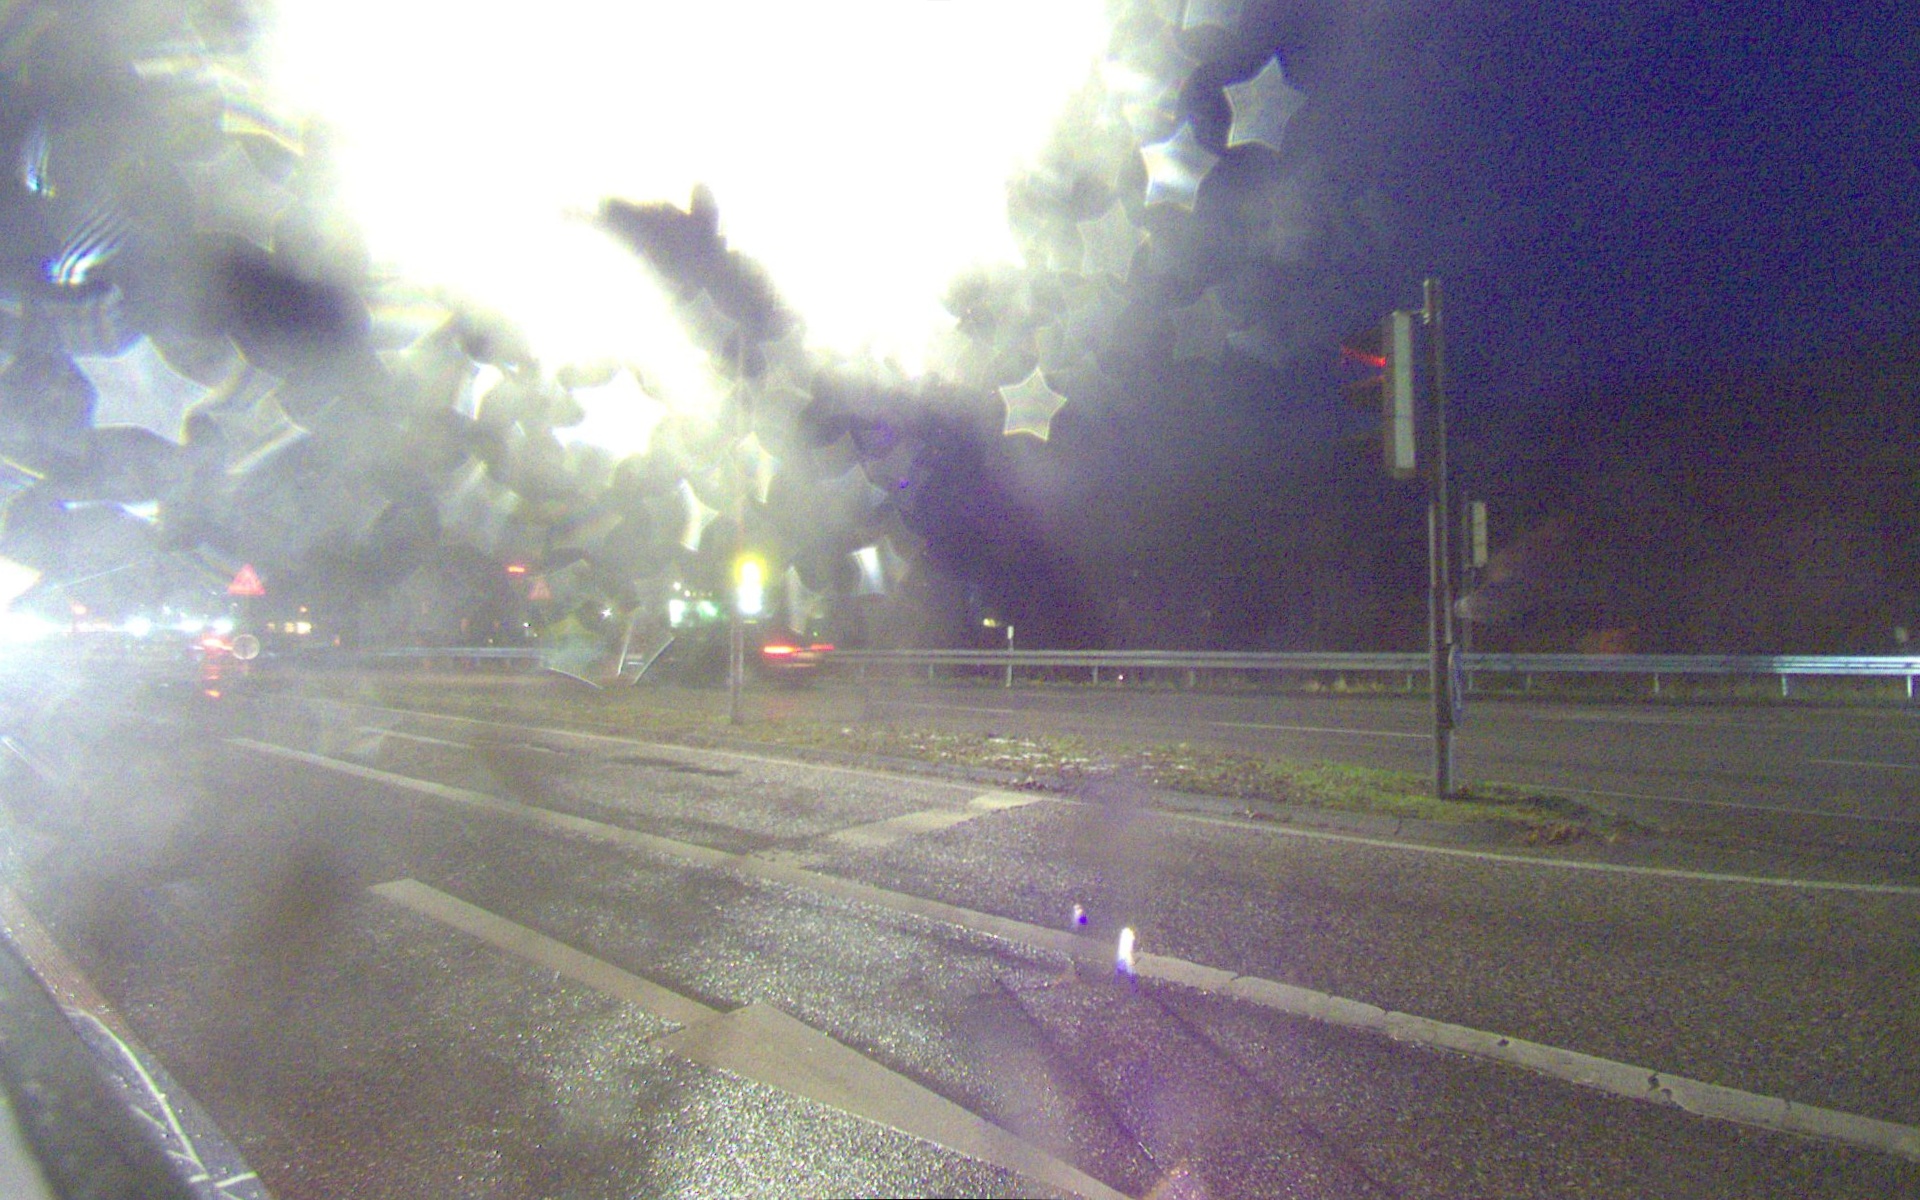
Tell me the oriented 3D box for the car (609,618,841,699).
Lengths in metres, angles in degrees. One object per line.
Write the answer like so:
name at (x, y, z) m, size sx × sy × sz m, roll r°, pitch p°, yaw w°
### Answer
car at (-5.042, 1.160, 21.520) m, size 4.868 × 1.515 × 1.736 m, roll 0°, pitch 0°, yaw 27°

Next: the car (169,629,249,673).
car at (-31.860, 2.104, 42.901) m, size 4.503 × 1.665 × 1.690 m, roll 0°, pitch 0°, yaw 39°

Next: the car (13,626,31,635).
car at (-153.269, 4.968, 165.368) m, size 1.780 × 1.435 × 4.213 m, roll 0°, pitch 0°, yaw -39°

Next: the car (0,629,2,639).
car at (-140.411, 4.911, 146.904) m, size 1.781 × 1.435 × 4.212 m, roll 0°, pitch 0°, yaw -41°
